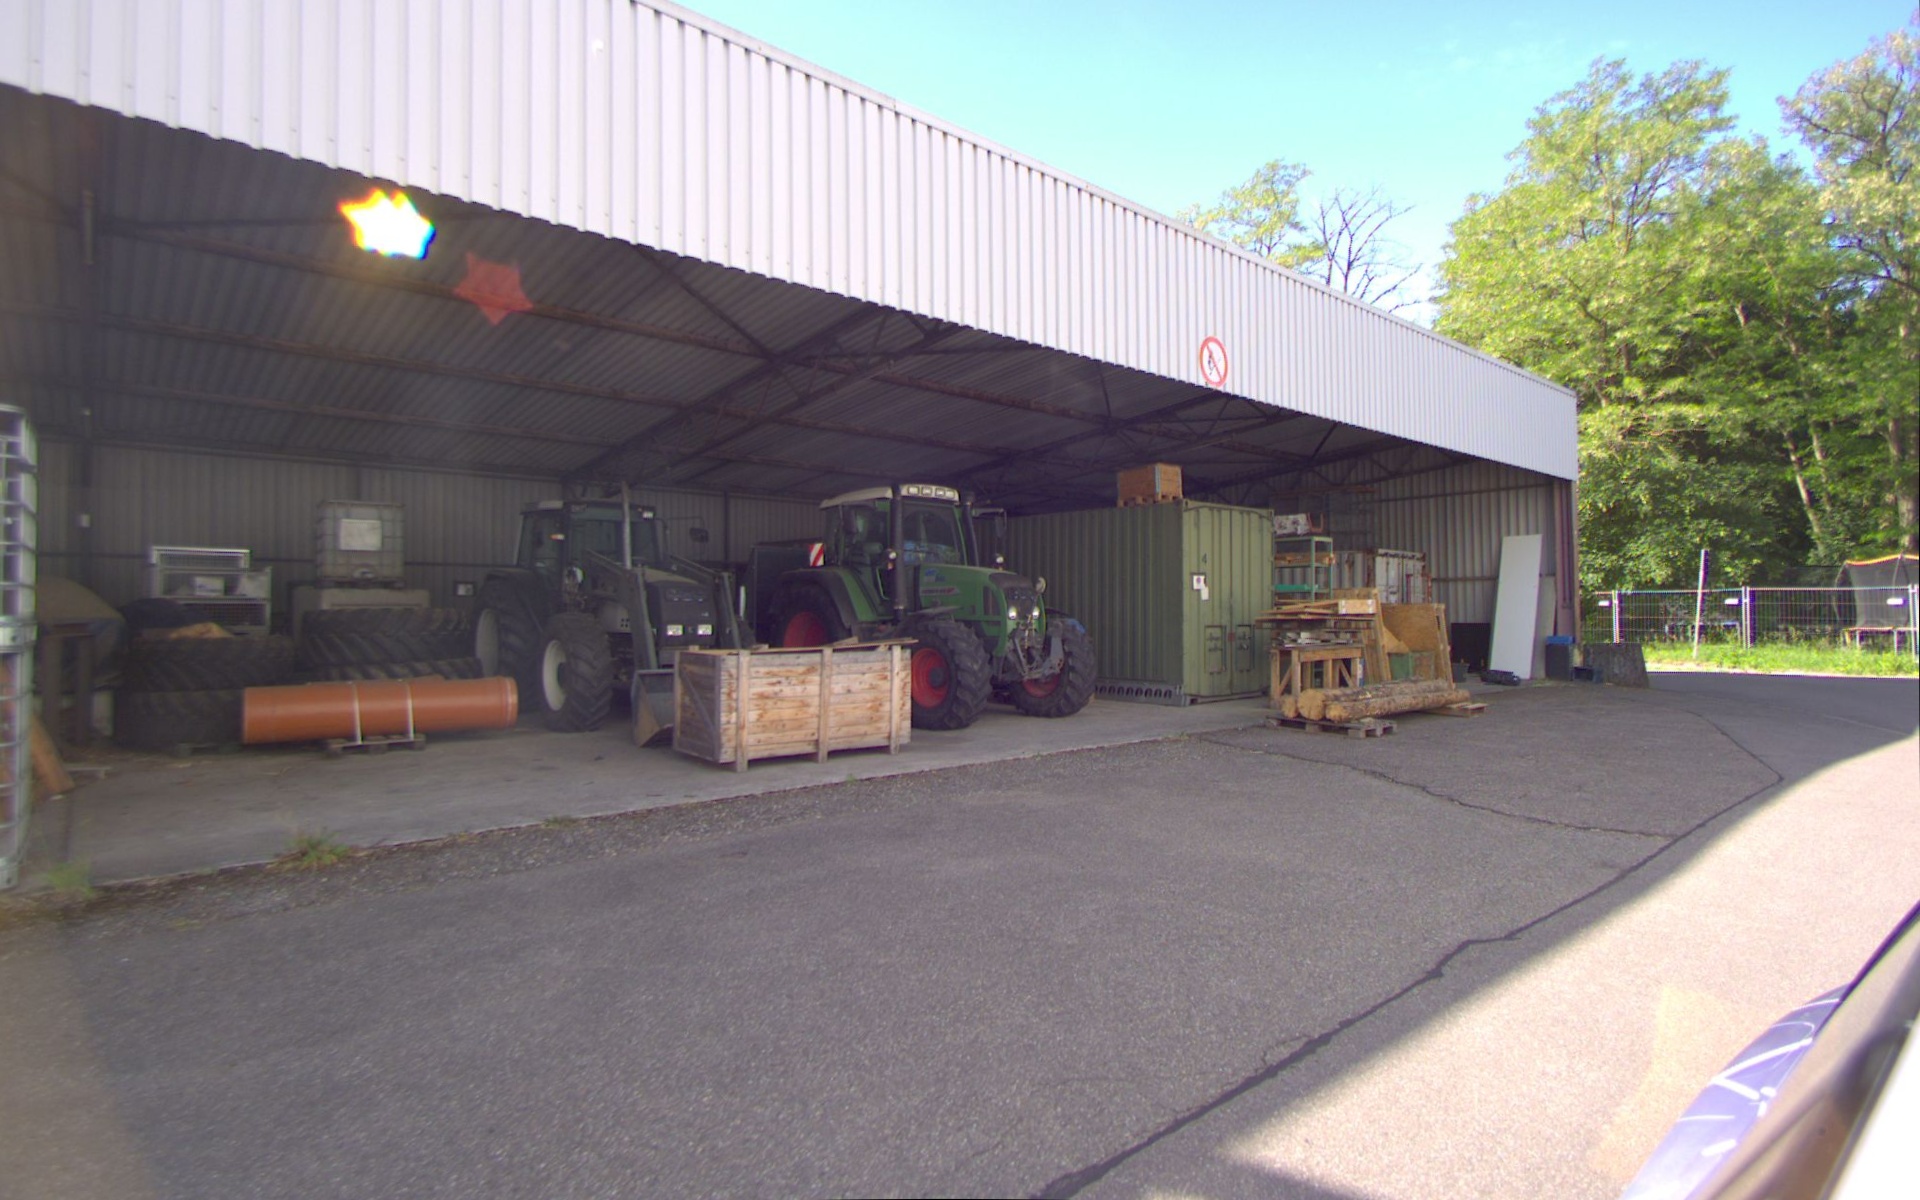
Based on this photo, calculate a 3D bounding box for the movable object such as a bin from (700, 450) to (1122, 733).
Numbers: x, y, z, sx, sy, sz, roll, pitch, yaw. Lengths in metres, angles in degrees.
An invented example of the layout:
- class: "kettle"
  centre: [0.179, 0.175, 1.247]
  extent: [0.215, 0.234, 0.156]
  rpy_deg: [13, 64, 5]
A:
- class: "movable object such as a bin"
  centre: [-0.954, -0.058, 13.732]
  extent: [2.770, 2.962, 5.844]
  rpy_deg: [0, -1, -40]

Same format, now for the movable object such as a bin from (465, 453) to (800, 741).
- class: "movable object such as a bin"
  centre: [-4.231, -0.007, 12.615]
  extent: [2.453, 2.867, 4.534]
  rpy_deg: [1, -1, -40]
